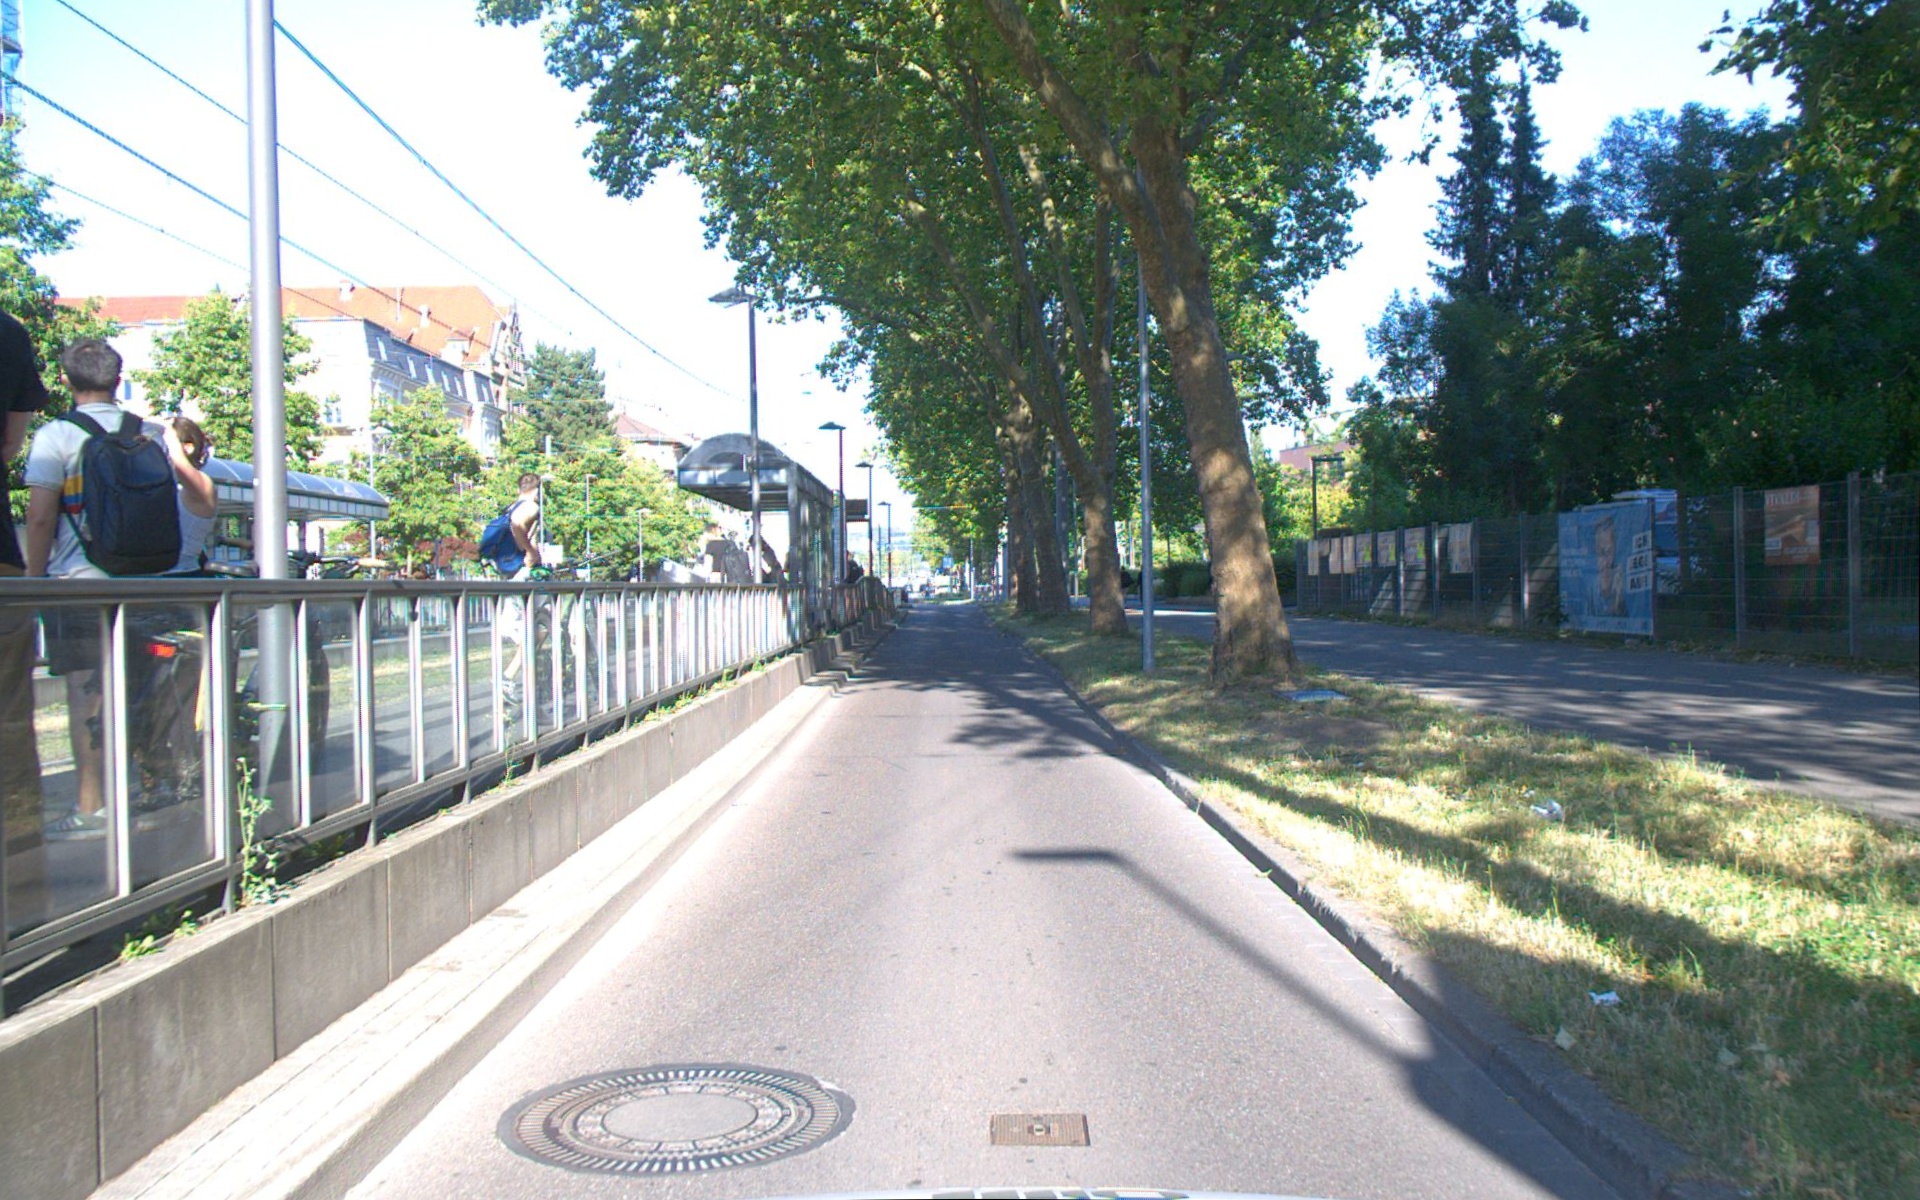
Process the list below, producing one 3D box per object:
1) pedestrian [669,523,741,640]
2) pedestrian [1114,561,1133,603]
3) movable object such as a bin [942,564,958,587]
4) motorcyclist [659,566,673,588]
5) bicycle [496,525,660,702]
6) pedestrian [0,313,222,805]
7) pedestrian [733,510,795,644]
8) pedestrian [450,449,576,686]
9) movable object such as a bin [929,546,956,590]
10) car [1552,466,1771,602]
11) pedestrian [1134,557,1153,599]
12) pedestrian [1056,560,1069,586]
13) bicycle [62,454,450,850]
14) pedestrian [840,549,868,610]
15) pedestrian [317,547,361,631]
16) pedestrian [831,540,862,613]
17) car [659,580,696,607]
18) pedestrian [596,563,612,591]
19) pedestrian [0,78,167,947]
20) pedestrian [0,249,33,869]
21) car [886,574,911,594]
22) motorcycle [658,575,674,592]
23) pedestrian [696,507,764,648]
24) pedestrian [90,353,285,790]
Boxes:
[{"bbox_3d":[-3.883,-0.277,25.223,0.900,1.752,0.624,0,0,-35],"label":"pedestrian"},{"bbox_3d":[6.697,-0.745,67.827,0.615,1.685,0.740,-2,0,-1],"label":"pedestrian"},{"bbox_3d":[-1.447,-3.424,229.405,1.929,3.065,4.795,-4,1,-1],"label":"movable object such as a bin"},{"bbox_3d":[-18.691,-1.459,105.154,0.802,1.322,1.275,1,0,-6],"label":"motorcyclist"},{"bbox_3d":[-2.686,0.078,11.858,0.722,1.153,2.030,1,0,-1],"label":"bicycle"},{"bbox_3d":[-3.147,-0.146,6.163,0.538,1.737,0.599,1,0,-4],"label":"pedestrian"},{"bbox_3d":[-2.668,-0.316,22.582,0.749,1.789,0.695,1,0,-1],"label":"pedestrian"},{"bbox_3d":[-3.503,-0.255,13.020,0.769,1.801,0.773,1,0,-1],"label":"pedestrian"},{"bbox_3d":[-2.219,-3.998,207.217,3.025,5.176,8.890,-4,1,-1],"label":"movable object such as a bin"},{"bbox_3d":[14.304,-1.271,34.232,1.952,2.543,6.348,1,1,1],"label":"car"},{"bbox_3d":[7.530,-0.897,67.842,0.636,1.685,0.783,-2,0,-1],"label":"pedestrian"},{"bbox_3d":[7.227,-1.890,117.036,0.789,1.824,1.110,-3,0,-1],"label":"pedestrian"},{"bbox_3d":[-2.383,0.143,5.890,0.502,1.153,2.103,1,1,-1],"label":"bicycle"},{"bbox_3d":[-3.026,-0.578,47.086,0.741,1.719,0.678,1,0,-1],"label":"pedestrian"},{"bbox_3d":[-12.750,-0.227,33.977,0.665,1.719,0.654,1,0,-3],"label":"pedestrian"},{"bbox_3d":[-2.734,-0.566,39.868,0.665,1.719,0.894,1,0,-1],"label":"pedestrian"},{"bbox_3d":[-19.864,-0.499,116.272,1.825,1.837,4.028,1,1,1],"label":"car"},{"bbox_3d":[-25.123,-1.624,116.798,0.841,1.961,1.086,-2,0,-2],"label":"pedestrian"},{"bbox_3d":[-2.517,-0.207,4.165,0.586,2.031,0.825,1,0,4],"label":"pedestrian"},{"bbox_3d":[-3.150,-0.119,4.640,0.586,1.831,0.825,1,0,4],"label":"pedestrian"},{"bbox_3d":[-5.214,-1.358,140.908,1.953,1.713,4.000,1,1,-1],"label":"car"},{"bbox_3d":[-18.709,-1.050,105.246,0.802,1.091,2.399,1,1,-5],"label":"motorcycle"},{"bbox_3d":[-2.654,-0.254,19.156,0.664,1.589,0.851,1,0,-1],"label":"pedestrian"},{"bbox_3d":[-3.230,-0.113,6.960,0.496,1.737,0.729,1,0,-4],"label":"pedestrian"}]
